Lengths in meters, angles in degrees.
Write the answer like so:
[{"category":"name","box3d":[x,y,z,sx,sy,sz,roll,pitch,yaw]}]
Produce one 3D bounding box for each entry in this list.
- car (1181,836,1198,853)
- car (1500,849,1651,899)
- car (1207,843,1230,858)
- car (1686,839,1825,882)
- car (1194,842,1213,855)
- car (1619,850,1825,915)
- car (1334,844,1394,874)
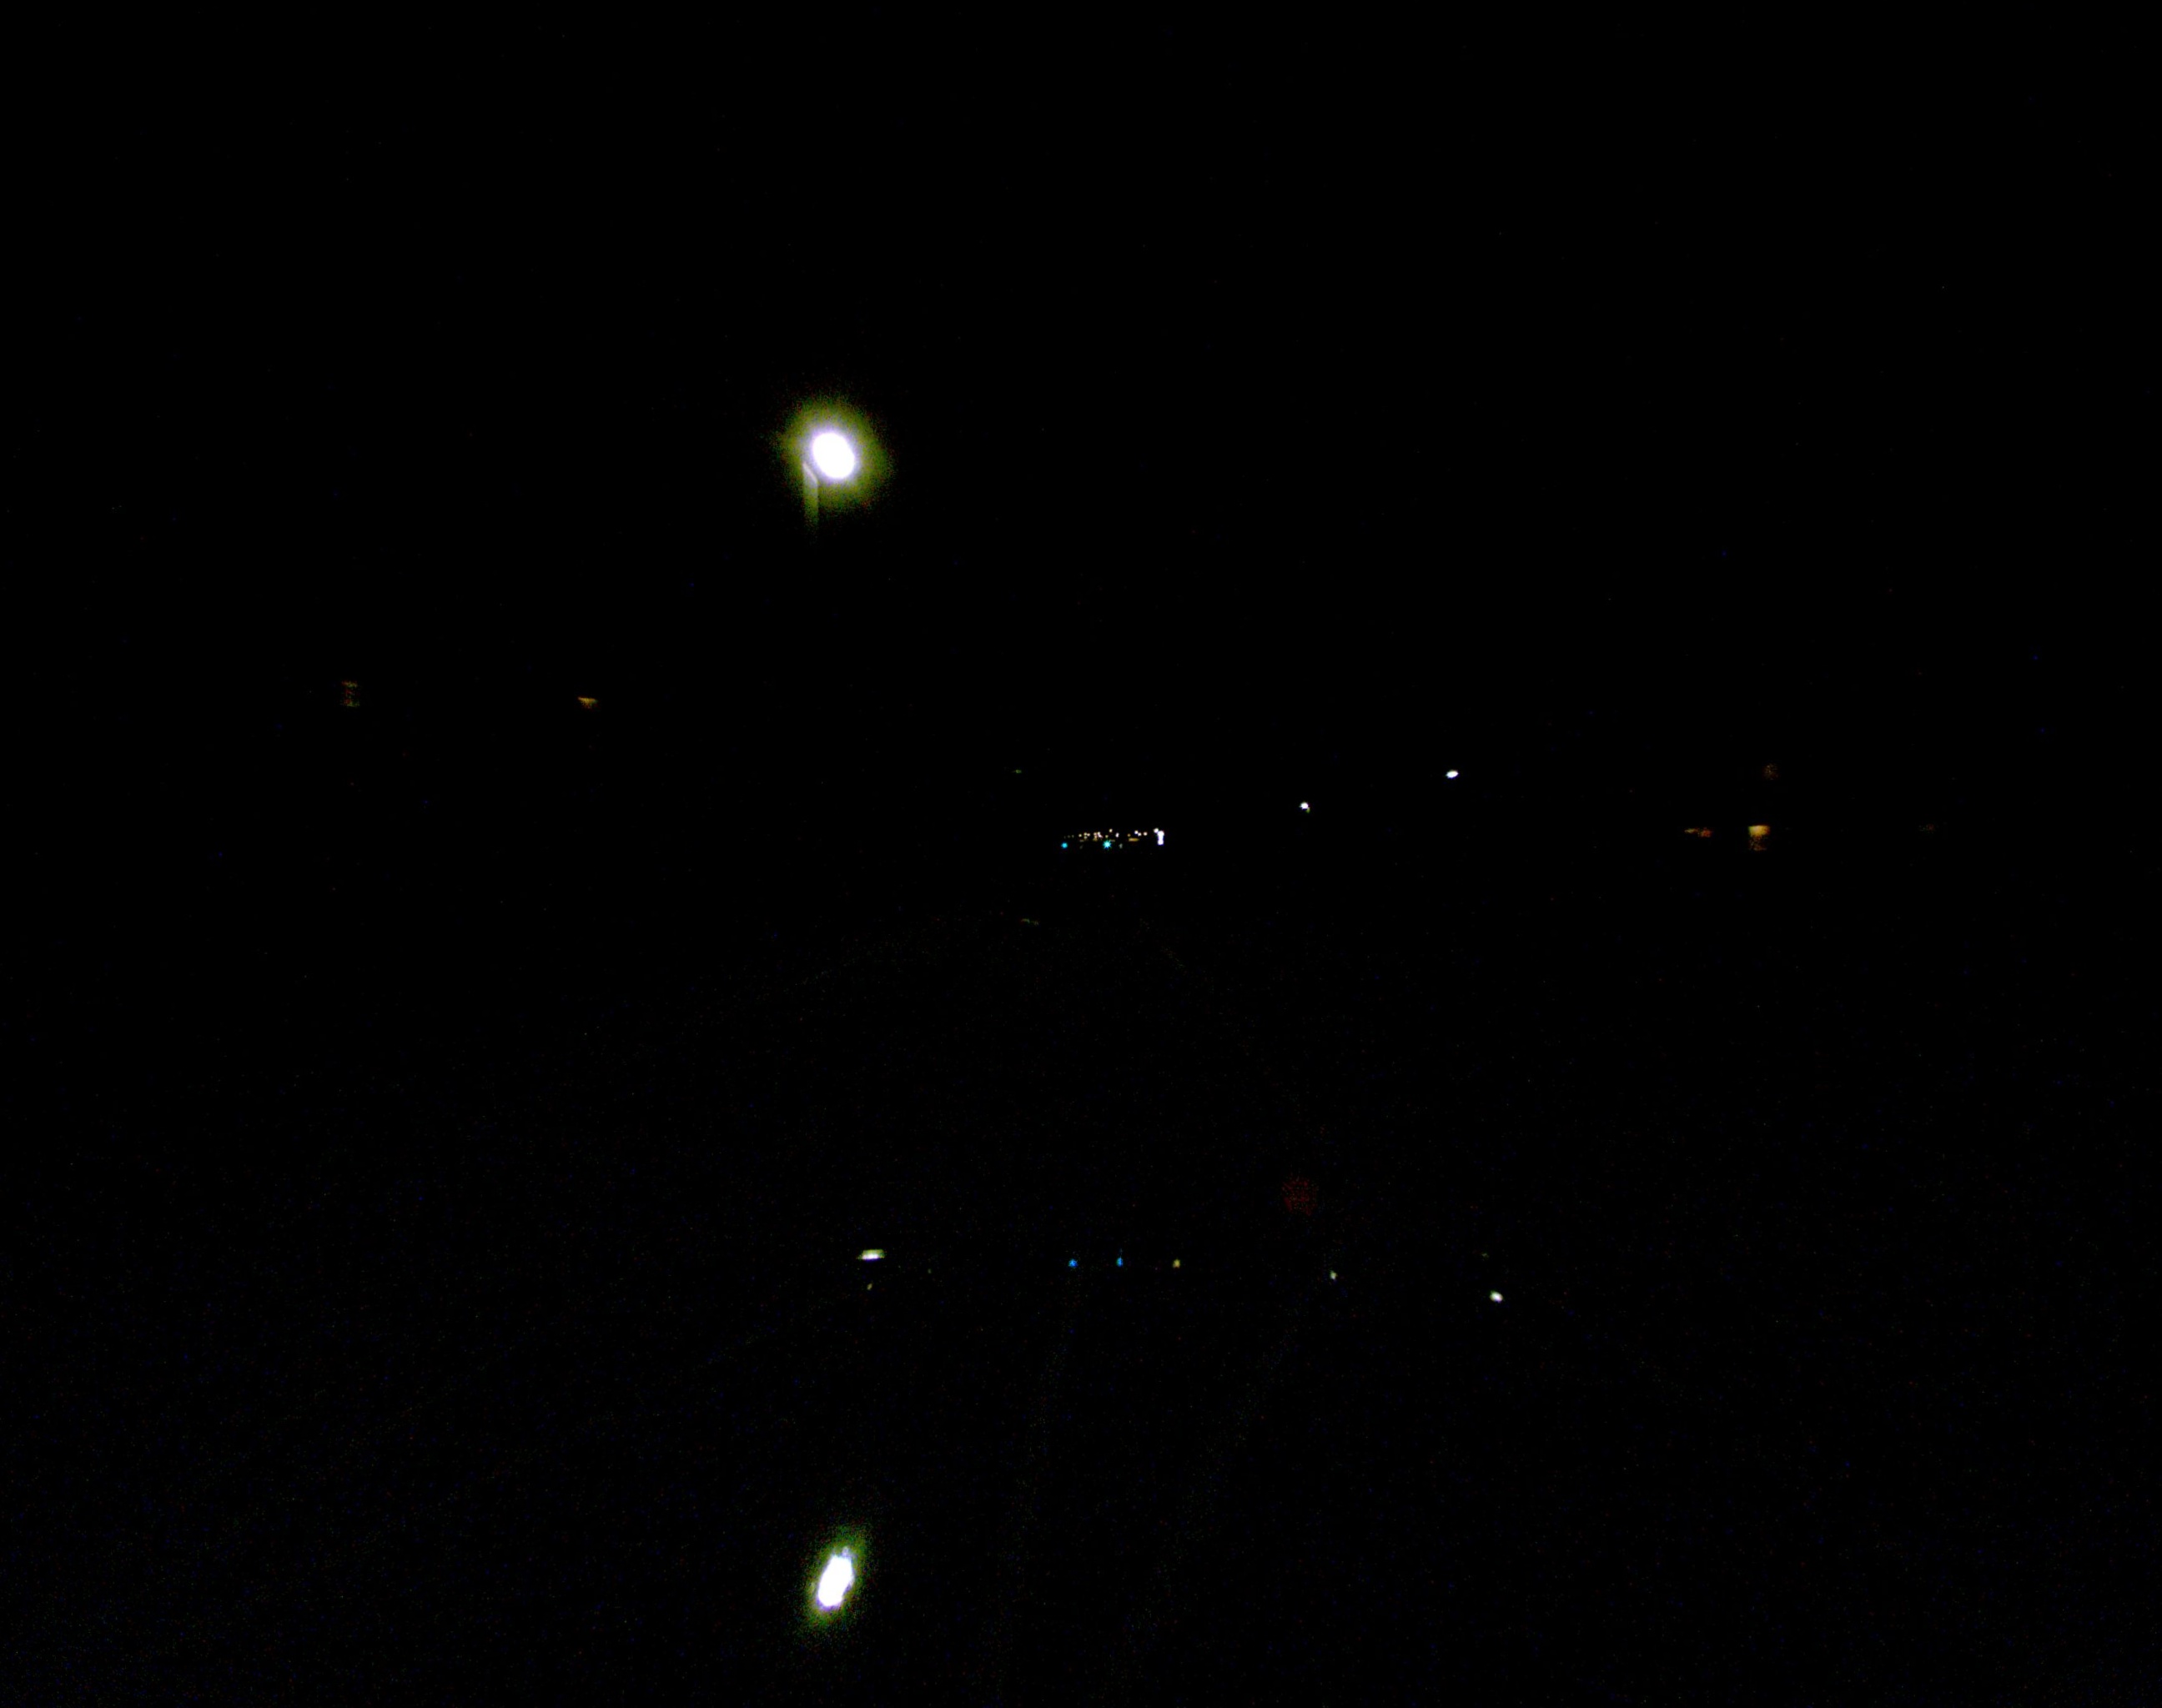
[{"category":"car","box3d":[17.159,-1.566,119.917,2.164,2.498,4.720,2,1,3]},{"category":"car","box3d":[16.096,0.573,25.125,1.904,1.357,4.984,2,1,3]},{"category":"car","box3d":[16.804,-0.479,93.197,2.124,1.761,4.720,2,1,3]},{"category":"car","box3d":[27.383,0.224,30.920,3.997,1.534,1.889,-2,1,-1]},{"category":"car","box3d":[17.037,-0.783,106.112,2.124,1.761,4.720,2,1,3]},{"category":"car","box3d":[16.023,0.631,19.333,1.732,1.357,4.145,2,1,1]},{"category":"car","box3d":[16.589,0.242,44.750,1.768,1.559,4.693,3,1,1]}]
